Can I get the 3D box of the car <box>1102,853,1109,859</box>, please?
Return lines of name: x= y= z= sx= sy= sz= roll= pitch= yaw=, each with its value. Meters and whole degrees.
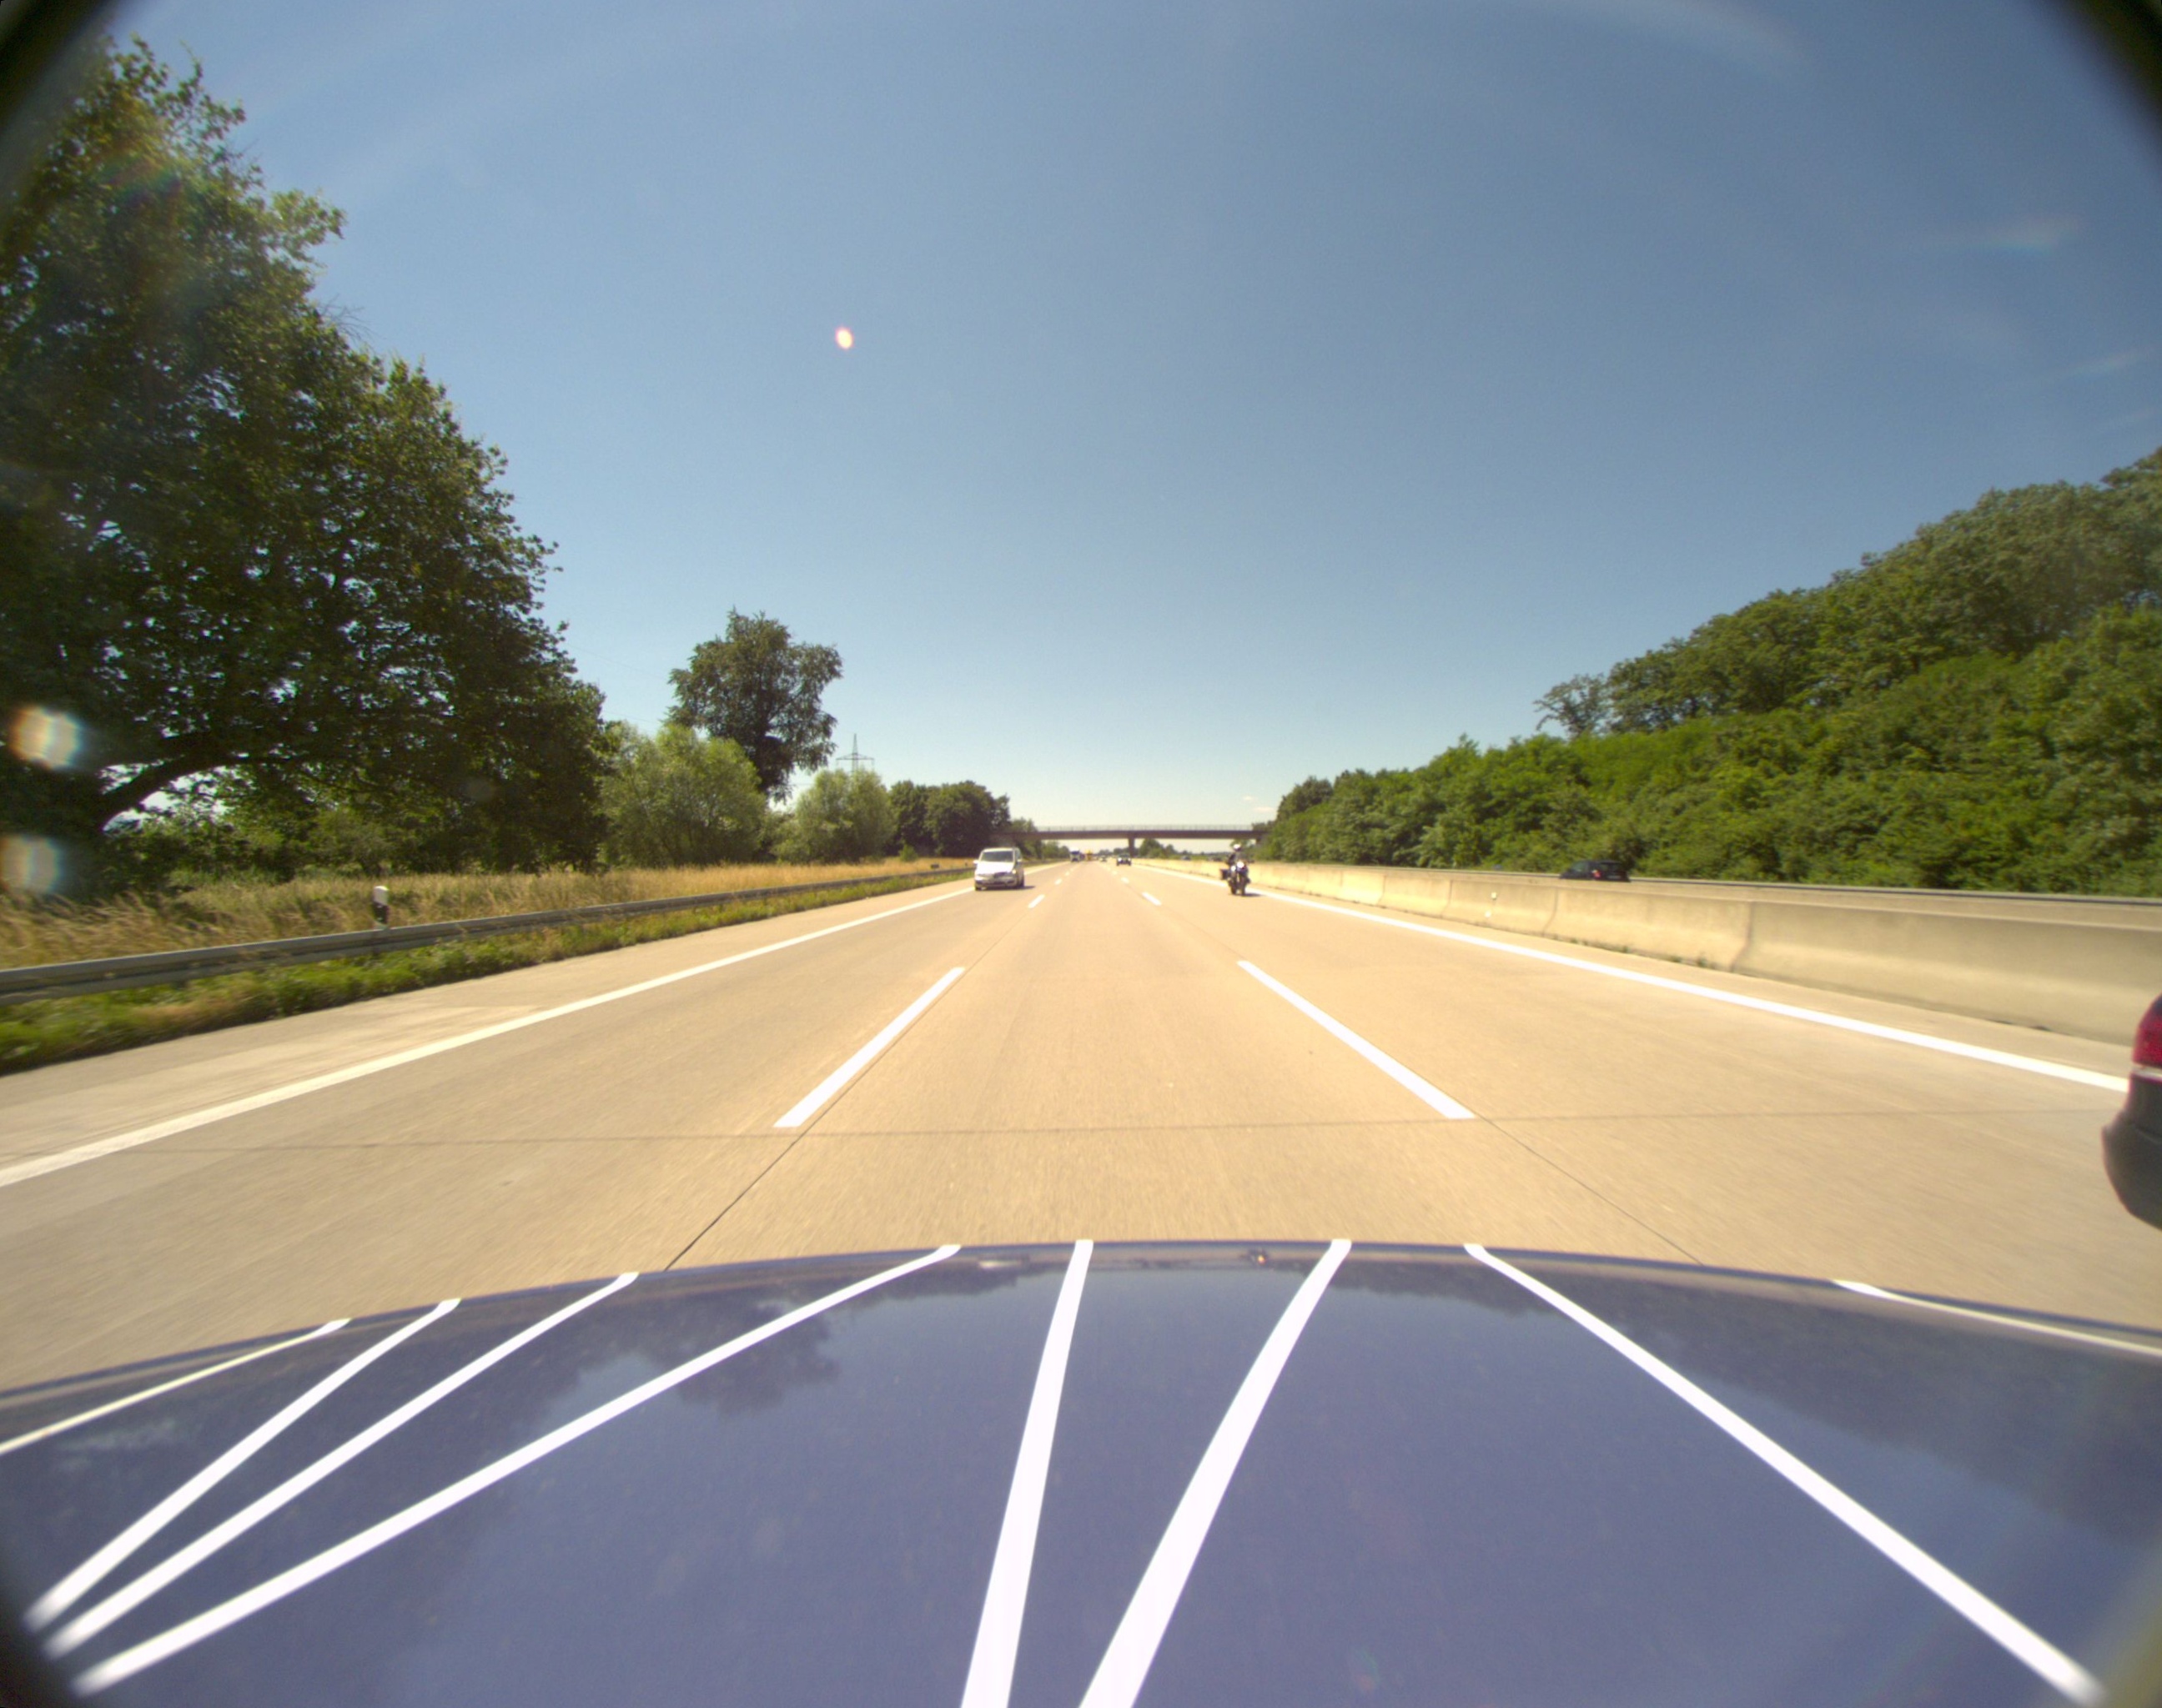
car: x=6.321 y=0.416 z=195.785 sx=1.586 sy=1.527 sz=3.611 roll=0 pitch=1 yaw=1

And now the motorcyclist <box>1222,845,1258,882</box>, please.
motorcyclist: x=5.269 y=0.300 z=25.269 sx=1.027 sy=1.202 sz=0.911 roll=-1 pitch=0 yaw=1

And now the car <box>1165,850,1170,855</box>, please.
car: x=29.746 y=-0.479 z=260.205 sx=1.401 sy=1.574 sz=3.102 roll=0 pitch=1 yaw=1

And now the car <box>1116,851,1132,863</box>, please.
car: x=5.582 y=0.342 z=98.906 sx=1.998 sy=1.518 sz=4.000 roll=0 pitch=1 yaw=1

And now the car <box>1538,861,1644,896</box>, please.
car: x=21.871 y=1.001 z=32.781 sx=1.932 sy=1.368 sz=4.000 roll=0 pitch=0 yaw=1

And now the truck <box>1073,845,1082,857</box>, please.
truck: x=-0.943 y=-0.867 z=220.431 sx=2.570 sy=3.514 sz=10.100 roll=-1 pitch=0 yaw=1

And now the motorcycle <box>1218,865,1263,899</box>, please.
motorcycle: x=5.271 y=0.896 z=25.316 sx=1.024 sy=1.042 sz=2.413 roll=-1 pitch=0 yaw=1

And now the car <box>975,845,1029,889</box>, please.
car: x=-3.637 y=0.589 z=35.696 sx=1.884 sy=1.878 sz=5.280 roll=-1 pitch=0 yaw=1

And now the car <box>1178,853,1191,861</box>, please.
car: x=18.716 y=0.486 z=137.533 sx=1.713 sy=1.377 sz=4.508 roll=-1 pitch=0 yaw=-1

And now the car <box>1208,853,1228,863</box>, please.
car: x=18.077 y=0.489 z=100.109 sx=1.681 sy=1.308 sz=4.860 roll=-1 pitch=0 yaw=-1
